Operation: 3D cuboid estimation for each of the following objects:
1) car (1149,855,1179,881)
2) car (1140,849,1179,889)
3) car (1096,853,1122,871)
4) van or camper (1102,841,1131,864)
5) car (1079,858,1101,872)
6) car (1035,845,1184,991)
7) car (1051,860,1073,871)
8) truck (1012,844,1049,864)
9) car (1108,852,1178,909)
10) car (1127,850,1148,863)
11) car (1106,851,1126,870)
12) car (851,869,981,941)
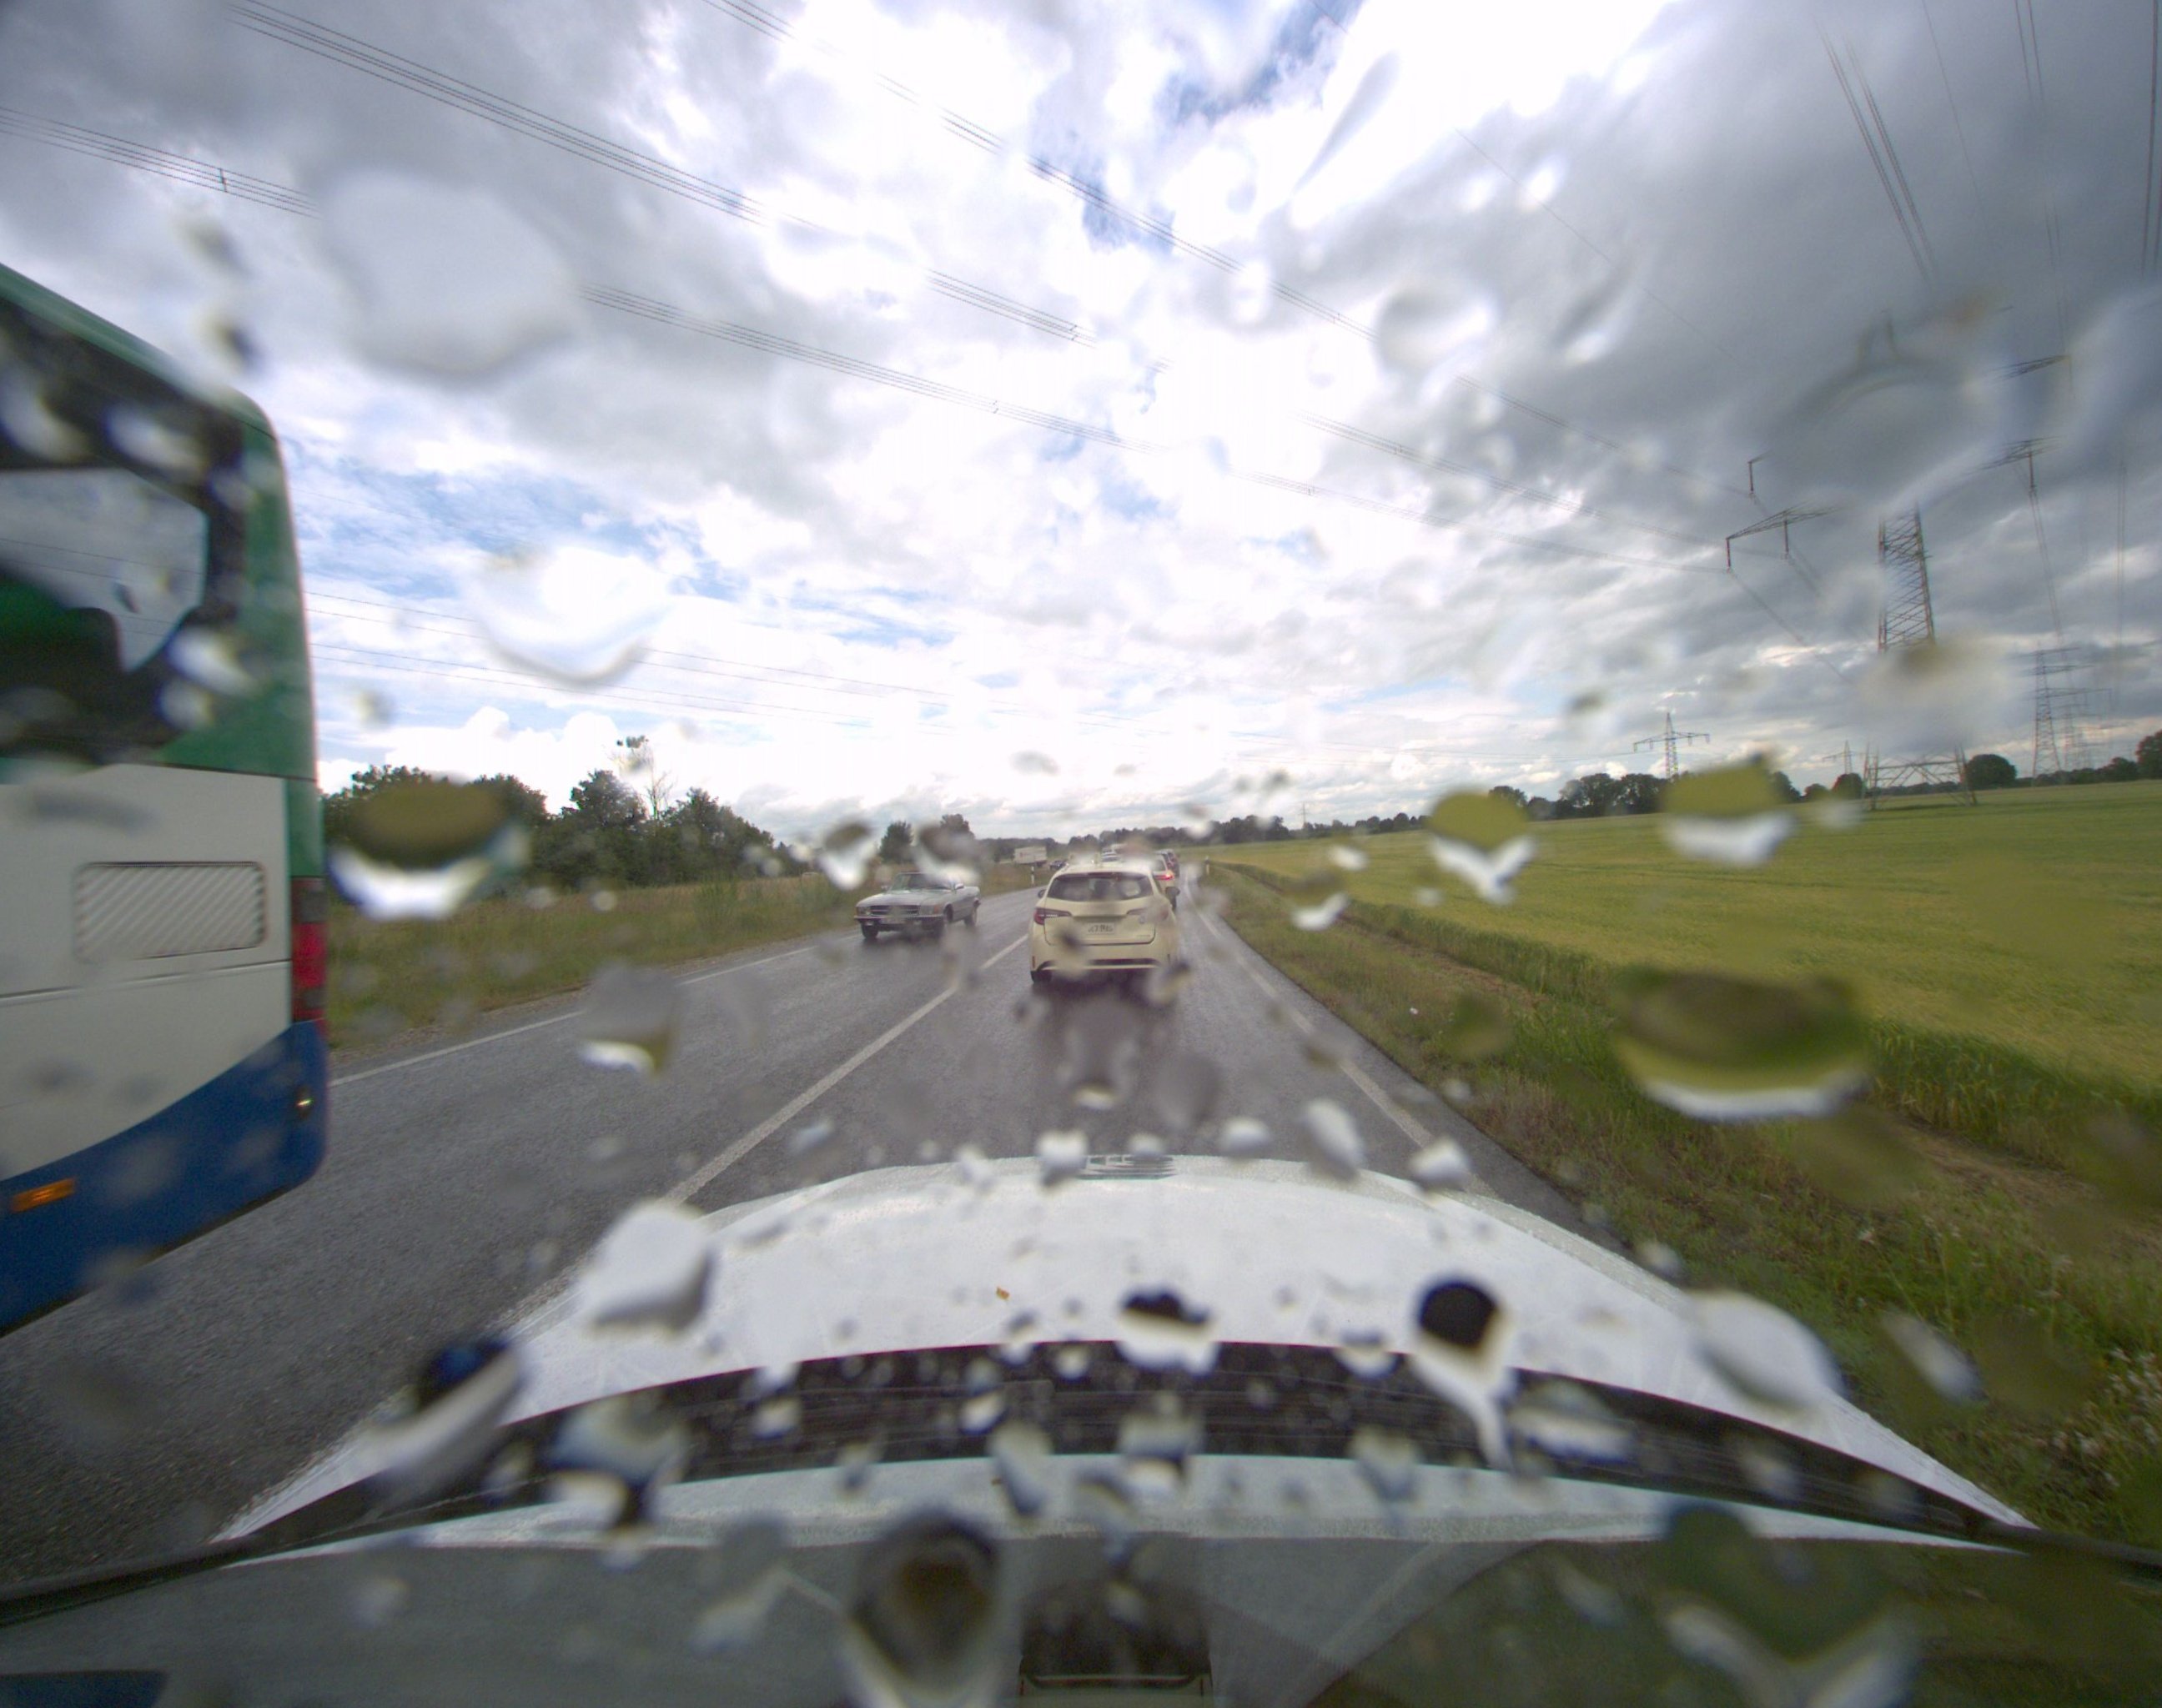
[{"bbox_3d":[4.787,0.820,46.724,1.604,1.413,3.745,-1,-1,6],"label":"car"},{"bbox_3d":[3.486,0.675,36.331,1.605,1.659,3.743,-1,-1,5],"label":"car"},{"bbox_3d":[2.349,0.679,66.290,1.835,1.388,4.293,-1,-1,5],"label":"car"},{"bbox_3d":[4.626,-0.153,108.198,2.536,2.896,6.722,-1,0,-9],"label":"van or camper"},{"bbox_3d":[1.119,1.397,104.008,1.849,1.631,4.518,-3,0,-11],"label":"car"},{"bbox_3d":[0.472,0.739,10.761,1.605,1.562,3.743,-1,-1,5],"label":"car"},{"bbox_3d":[-2.713,1.671,117.617,1.856,1.448,4.061,-3,0,-21],"label":"car"},{"bbox_3d":[-8.826,0.062,141.061,3.032,3.209,8.154,0,-2,-29],"label":"truck"},{"bbox_3d":[1.848,0.702,23.818,1.832,1.492,4.615,-1,0,5],"label":"car"},{"bbox_3d":[6.356,0.305,92.037,1.780,1.413,3.731,-1,-1,-5],"label":"car"},{"bbox_3d":[3.504,0.641,81.515,1.838,1.855,4.447,-1,-1,1],"label":"car"},{"bbox_3d":[-3.322,0.988,17.175,1.712,1.251,4.003,-1,0,3],"label":"car"}]
